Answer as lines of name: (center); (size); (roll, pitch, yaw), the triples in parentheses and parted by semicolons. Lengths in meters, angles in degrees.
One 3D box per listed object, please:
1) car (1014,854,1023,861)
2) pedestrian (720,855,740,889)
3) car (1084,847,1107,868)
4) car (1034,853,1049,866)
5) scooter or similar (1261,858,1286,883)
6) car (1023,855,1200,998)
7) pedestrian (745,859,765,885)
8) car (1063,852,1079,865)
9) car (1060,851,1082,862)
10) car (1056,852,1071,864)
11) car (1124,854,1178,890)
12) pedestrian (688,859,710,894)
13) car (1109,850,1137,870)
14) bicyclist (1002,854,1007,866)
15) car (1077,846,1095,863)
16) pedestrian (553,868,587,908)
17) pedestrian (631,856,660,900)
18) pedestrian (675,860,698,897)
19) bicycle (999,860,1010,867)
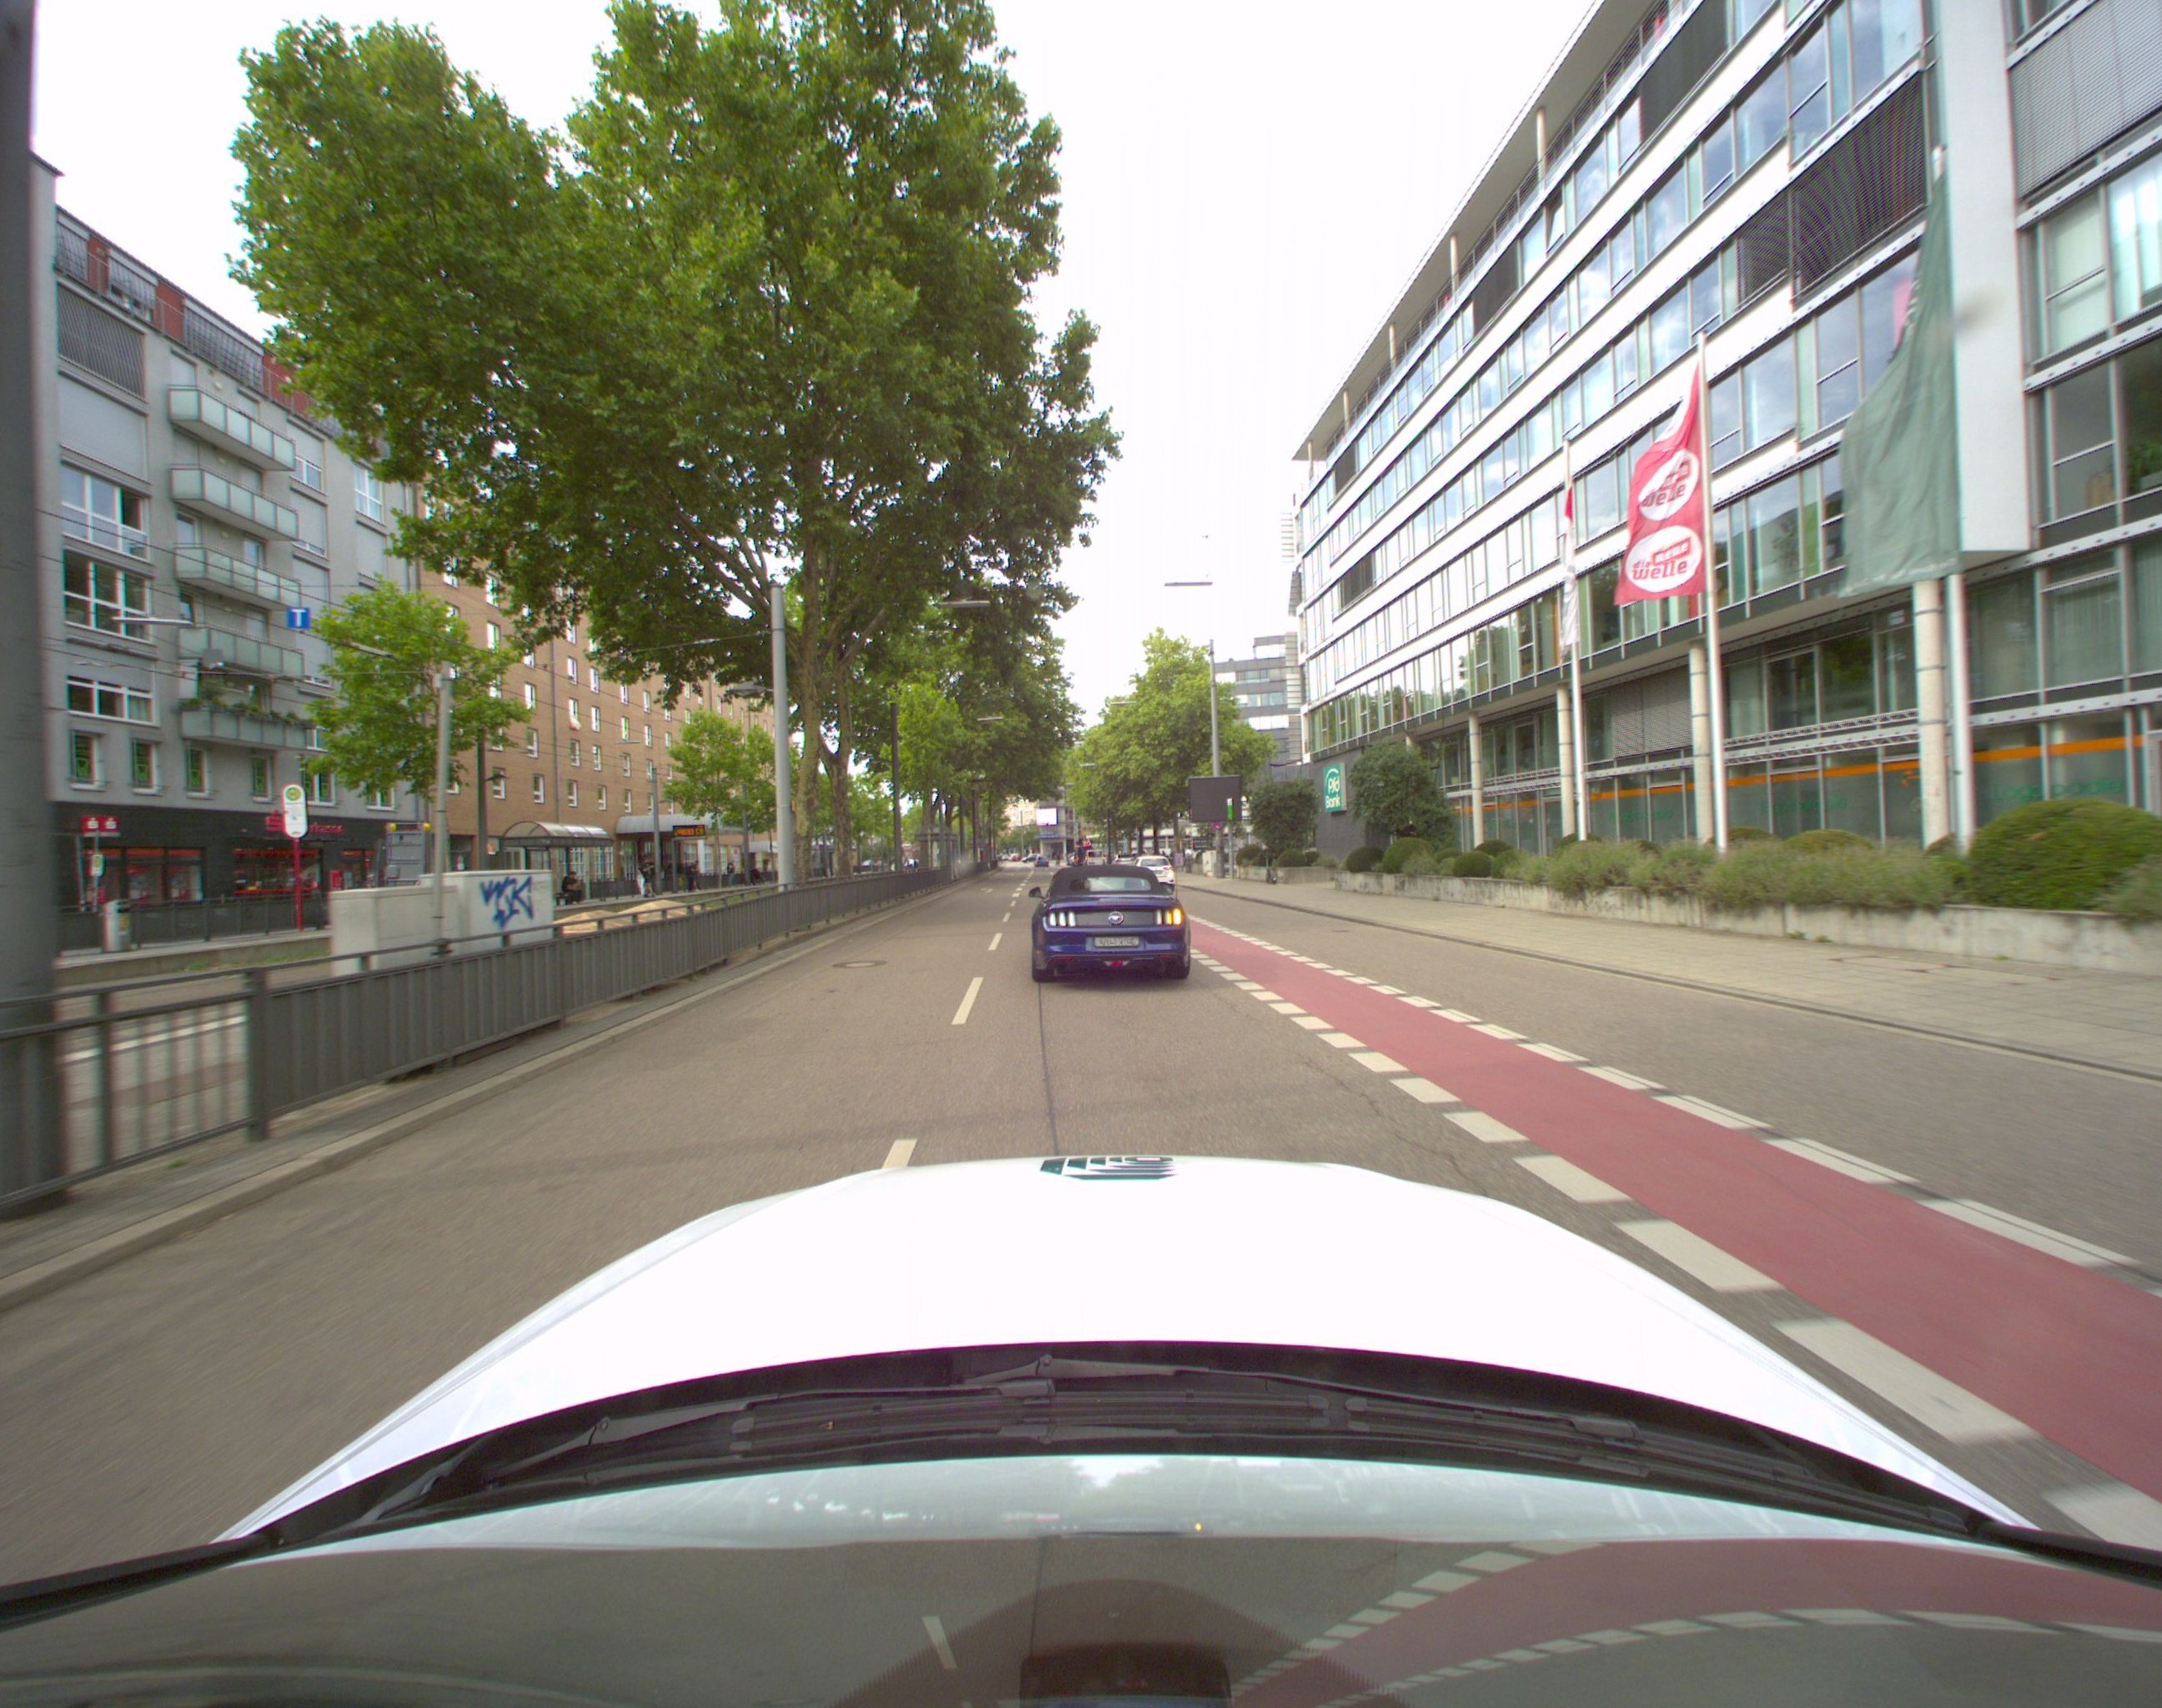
car: (-14.414, 0.744, 187.062); (1.830, 1.521, 4.172); (-3, 0, -2)
pedestrian: (-20.898, 1.058, 48.537); (0.814, 1.993, 0.783); (-3, 0, -7)
car: (1.409, 0.338, 80.686); (1.886, 1.903, 4.126); (-3, 0, -2)
car: (-5.013, 0.728, 103.057); (1.830, 1.547, 4.211); (-3, 0, -2)
scooter or similar: (7.669, 0.646, 32.480); (0.585, 0.950, 1.860); (-3, 0, 2)
car: (0.278, 0.781, 10.983); (1.871, 1.404, 4.279); (-3, 1, -2)
pedestrian: (-21.523, 1.183, 53.766); (0.993, 1.600, 0.849); (-3, 0, -7)
car: (-1.273, 0.514, 102.959); (1.830, 1.521, 4.172); (-3, 0, -2)
car: (-1.837, 0.454, 152.918); (3.973, 2.013, 2.001); (-2, 0, 1)
car: (-2.370, 0.514, 109.790); (1.830, 1.521, 4.172); (-3, 0, -2)
car: (3.052, 0.763, 36.181); (1.830, 1.439, 4.184); (-3, 0, -2)
pedestrian: (-21.183, 1.242, 45.124); (0.814, 1.887, 0.783); (-3, 0, -7)
car: (3.642, 0.508, 71.240); (1.876, 1.582, 4.319); (-2, 1, -4)
bicyclist: (-10.675, 0.826, 113.441); (0.670, 1.731, 0.511); (-3, 0, -4)
car: (0.551, 0.050, 93.548); (1.830, 1.903, 4.172); (-3, 0, -2)
pedestrian: (-20.229, 1.339, 32.239); (0.814, 1.536, 0.783); (-3, 0, -7)
pedestrian: (-19.217, 1.047, 35.966); (0.814, 1.887, 0.783); (-3, 0, -7)
pedestrian: (-20.601, 1.262, 42.535); (0.814, 1.887, 0.783); (-3, 0, -7)
bicycle: (-10.673, 1.322, 113.447); (1.403, 0.931, 0.511); (-3, 0, -4)
